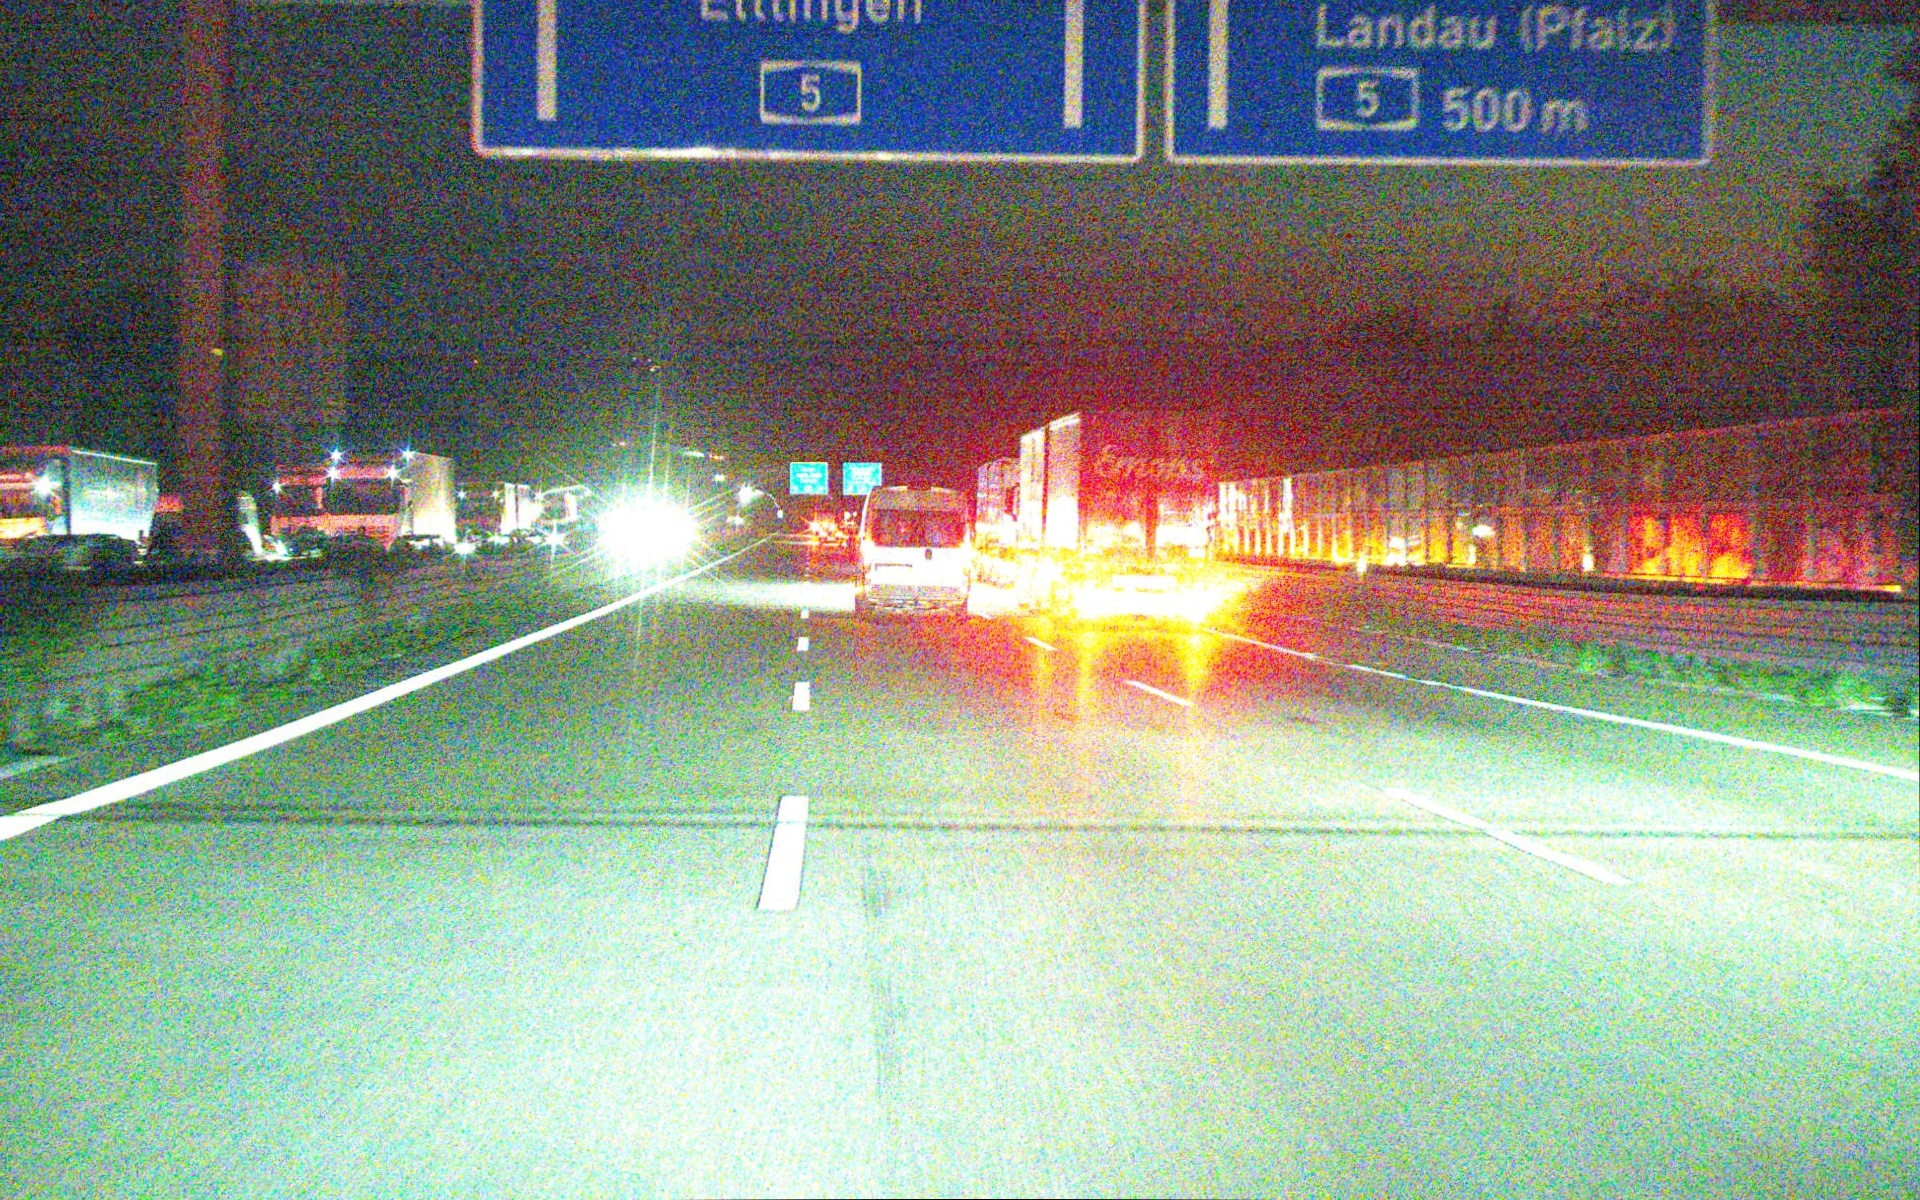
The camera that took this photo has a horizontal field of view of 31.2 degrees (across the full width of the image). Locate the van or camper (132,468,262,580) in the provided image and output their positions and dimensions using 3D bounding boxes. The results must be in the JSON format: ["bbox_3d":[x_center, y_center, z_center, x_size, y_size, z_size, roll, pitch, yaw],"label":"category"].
[{"bbox_3d":[-18.726,-1.866,84.703,2.083,2.623,7.606,0,1,-4],"label":"van or camper"}]

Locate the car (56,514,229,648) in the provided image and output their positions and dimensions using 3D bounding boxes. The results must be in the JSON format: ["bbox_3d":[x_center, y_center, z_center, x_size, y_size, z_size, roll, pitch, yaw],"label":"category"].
[{"bbox_3d":[-13.126,-0.304,55.421,1.993,2.007,4.001,2,0,-4],"label":"car"}]

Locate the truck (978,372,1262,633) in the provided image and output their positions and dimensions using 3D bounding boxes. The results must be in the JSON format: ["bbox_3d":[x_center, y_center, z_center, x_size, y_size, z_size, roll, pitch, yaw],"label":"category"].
[{"bbox_3d":[2.959,-1.874,72.848,3.914,4.611,21.020,-2,1,-3],"label":"truck"}]

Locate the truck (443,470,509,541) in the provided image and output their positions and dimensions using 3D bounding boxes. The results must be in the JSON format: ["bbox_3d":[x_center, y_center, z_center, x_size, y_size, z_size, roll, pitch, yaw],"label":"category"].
[{"bbox_3d":[-26.935,-5.228,191.584,2.859,3.674,6.603,2,0,-2],"label":"truck"}]

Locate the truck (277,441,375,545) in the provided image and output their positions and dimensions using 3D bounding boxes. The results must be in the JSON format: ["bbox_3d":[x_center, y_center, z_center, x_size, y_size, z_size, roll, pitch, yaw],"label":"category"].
[{"bbox_3d":[-23.260,-3.933,126.428,2.873,3.661,6.052,1,1,-5],"label":"truck"}]

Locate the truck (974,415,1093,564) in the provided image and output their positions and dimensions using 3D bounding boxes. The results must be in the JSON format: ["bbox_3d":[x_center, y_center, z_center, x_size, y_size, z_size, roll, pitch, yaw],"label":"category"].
[{"bbox_3d":[2.259,-3.556,111.556,3.344,4.460,13.911,2,2,0],"label":"truck"}]

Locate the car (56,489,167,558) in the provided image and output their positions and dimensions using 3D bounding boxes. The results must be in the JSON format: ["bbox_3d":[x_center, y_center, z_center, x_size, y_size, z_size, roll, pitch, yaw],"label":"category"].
[{"bbox_3d":[-21.909,-1.955,88.955,1.993,1.640,4.314,2,0,-4],"label":"car"}]

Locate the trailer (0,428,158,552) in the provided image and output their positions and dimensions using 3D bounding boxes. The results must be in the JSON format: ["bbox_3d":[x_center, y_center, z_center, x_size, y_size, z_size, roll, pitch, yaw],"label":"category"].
[{"bbox_3d":[-26.754,-3.232,102.747,2.959,3.430,13.439,1,1,-3],"label":"trailer"}]

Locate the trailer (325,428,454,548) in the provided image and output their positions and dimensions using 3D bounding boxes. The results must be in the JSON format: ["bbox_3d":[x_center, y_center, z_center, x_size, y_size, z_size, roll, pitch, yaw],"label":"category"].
[{"bbox_3d":[-19.244,-3.705,116.683,2.885,3.659,12.218,2,0,-3],"label":"trailer"}]

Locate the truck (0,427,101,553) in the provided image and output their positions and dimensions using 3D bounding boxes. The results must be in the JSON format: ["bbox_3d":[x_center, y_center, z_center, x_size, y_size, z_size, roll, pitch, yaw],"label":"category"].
[{"bbox_3d":[-26.558,-3.104,97.561,2.959,3.430,6.363,1,1,-3],"label":"truck"}]

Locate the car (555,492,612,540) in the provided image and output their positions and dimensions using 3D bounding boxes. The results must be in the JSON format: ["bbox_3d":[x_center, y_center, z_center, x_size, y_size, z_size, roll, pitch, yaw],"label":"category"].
[{"bbox_3d":[-17.011,-3.797,155.571,1.993,2.007,5.325,2,0,-1],"label":"car"}]

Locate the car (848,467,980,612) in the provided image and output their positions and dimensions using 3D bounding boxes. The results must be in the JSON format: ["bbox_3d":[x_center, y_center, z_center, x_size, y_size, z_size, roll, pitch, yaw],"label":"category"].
[{"bbox_3d":[-0.828,-1.095,65.110,2.337,2.631,5.247,0,0,1],"label":"car"}]

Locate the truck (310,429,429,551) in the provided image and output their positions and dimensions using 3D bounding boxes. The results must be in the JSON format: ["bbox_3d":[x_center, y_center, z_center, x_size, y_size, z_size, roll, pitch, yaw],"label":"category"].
[{"bbox_3d":[-18.917,-3.467,110.480,2.874,3.661,6.781,2,0,-3],"label":"truck"}]

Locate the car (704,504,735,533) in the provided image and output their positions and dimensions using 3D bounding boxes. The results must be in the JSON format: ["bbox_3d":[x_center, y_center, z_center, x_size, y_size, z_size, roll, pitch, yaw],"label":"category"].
[{"bbox_3d":[-16.703,-5.627,238.538,1.993,2.007,4.001,0,1,-7],"label":"car"}]
